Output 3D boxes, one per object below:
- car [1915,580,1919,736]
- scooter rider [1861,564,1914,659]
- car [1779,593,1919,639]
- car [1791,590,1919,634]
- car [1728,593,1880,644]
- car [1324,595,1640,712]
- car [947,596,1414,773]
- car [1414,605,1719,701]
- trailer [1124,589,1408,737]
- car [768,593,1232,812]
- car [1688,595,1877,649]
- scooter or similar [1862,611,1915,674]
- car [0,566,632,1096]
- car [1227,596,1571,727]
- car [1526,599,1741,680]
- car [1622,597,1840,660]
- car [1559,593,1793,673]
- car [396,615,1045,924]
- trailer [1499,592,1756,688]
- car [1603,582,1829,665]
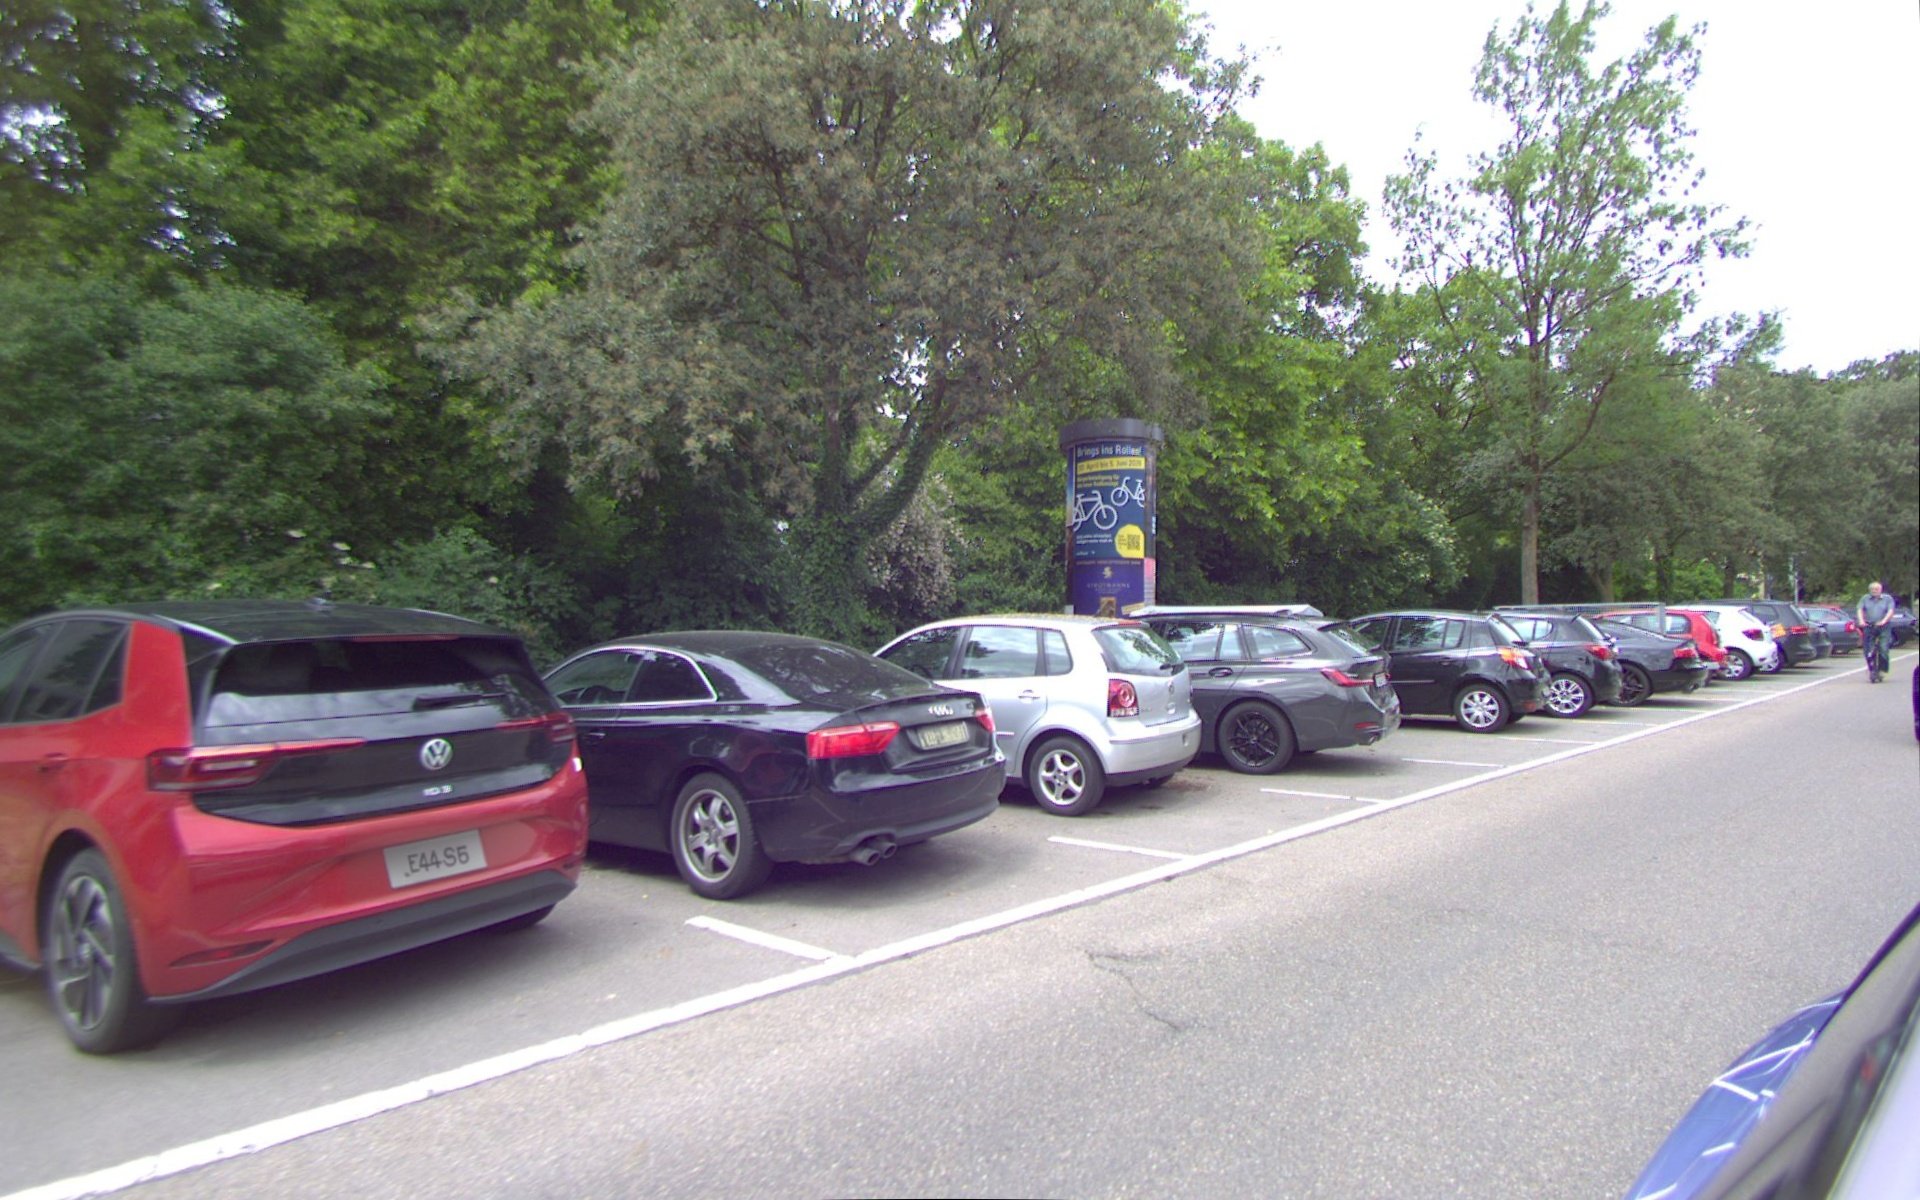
[{"bbox_3d":[11.804,0.565,10.774,4.221,1.570,1.803,0,-1,-39],"label":"car"},{"bbox_3d":[17.756,0.223,19.370,0.681,1.752,1.177,-2,-2,45],"label":"scooter rider"},{"bbox_3d":[30.440,0.551,34.266,4.126,1.495,1.554,-2,-1,39],"label":"car"},{"bbox_3d":[32.184,0.463,36.095,1.549,1.495,3.719,1,-2,-42],"label":"car"},{"bbox_3d":[26.148,0.589,31.511,3.515,1.495,1.570,-2,-1,38],"label":"car"},{"bbox_3d":[7.605,0.740,14.911,3.902,1.506,1.596,-2,-1,38],"label":"car"},{"bbox_3d":[2.112,0.755,10.214,4.324,1.464,1.615,-2,-2,32],"label":"car"},{"bbox_3d":[9.678,0.805,16.311,4.028,1.344,1.538,-2,-1,39],"label":"car"},{"bbox_3d":[3.599,0.705,12.090,2.978,1.562,1.285,-2,-2,37],"label":"trailer"},{"bbox_3d":[0.250,0.734,8.500,3.597,1.464,1.614,-2,-1,35],"label":"car"},{"bbox_3d":[24.156,0.652,29.851,4.215,1.483,1.610,-2,-1,41],"label":"car"},{"bbox_3d":[17.751,0.792,19.339,0.681,1.154,1.436,-2,-2,44],"label":"scooter or similar"},{"bbox_3d":[-3.597,0.694,4.734,4.051,1.535,1.715,-1,-1,31],"label":"car"},{"bbox_3d":[5.664,0.740,13.298,3.833,1.474,1.611,-2,-1,40],"label":"car"},{"bbox_3d":[13.335,0.753,20.132,3.416,1.464,1.538,-2,-1,38],"label":"car"},{"bbox_3d":[18.961,0.697,25.050,4.152,1.424,1.674,-2,-1,39],"label":"car"},{"bbox_3d":[15.193,0.678,21.607,1.580,1.549,3.822,-1,-1,-44],"label":"car"},{"bbox_3d":[-1.736,0.821,6.529,4.300,1.358,1.711,-2,-1,36],"label":"car"},{"bbox_3d":[11.909,0.707,18.173,3.681,1.555,1.623,-2,-2,39],"label":"trailer"},{"bbox_3d":[17.178,0.534,23.148,3.978,1.747,1.657,-2,-1,39],"label":"car"}]
